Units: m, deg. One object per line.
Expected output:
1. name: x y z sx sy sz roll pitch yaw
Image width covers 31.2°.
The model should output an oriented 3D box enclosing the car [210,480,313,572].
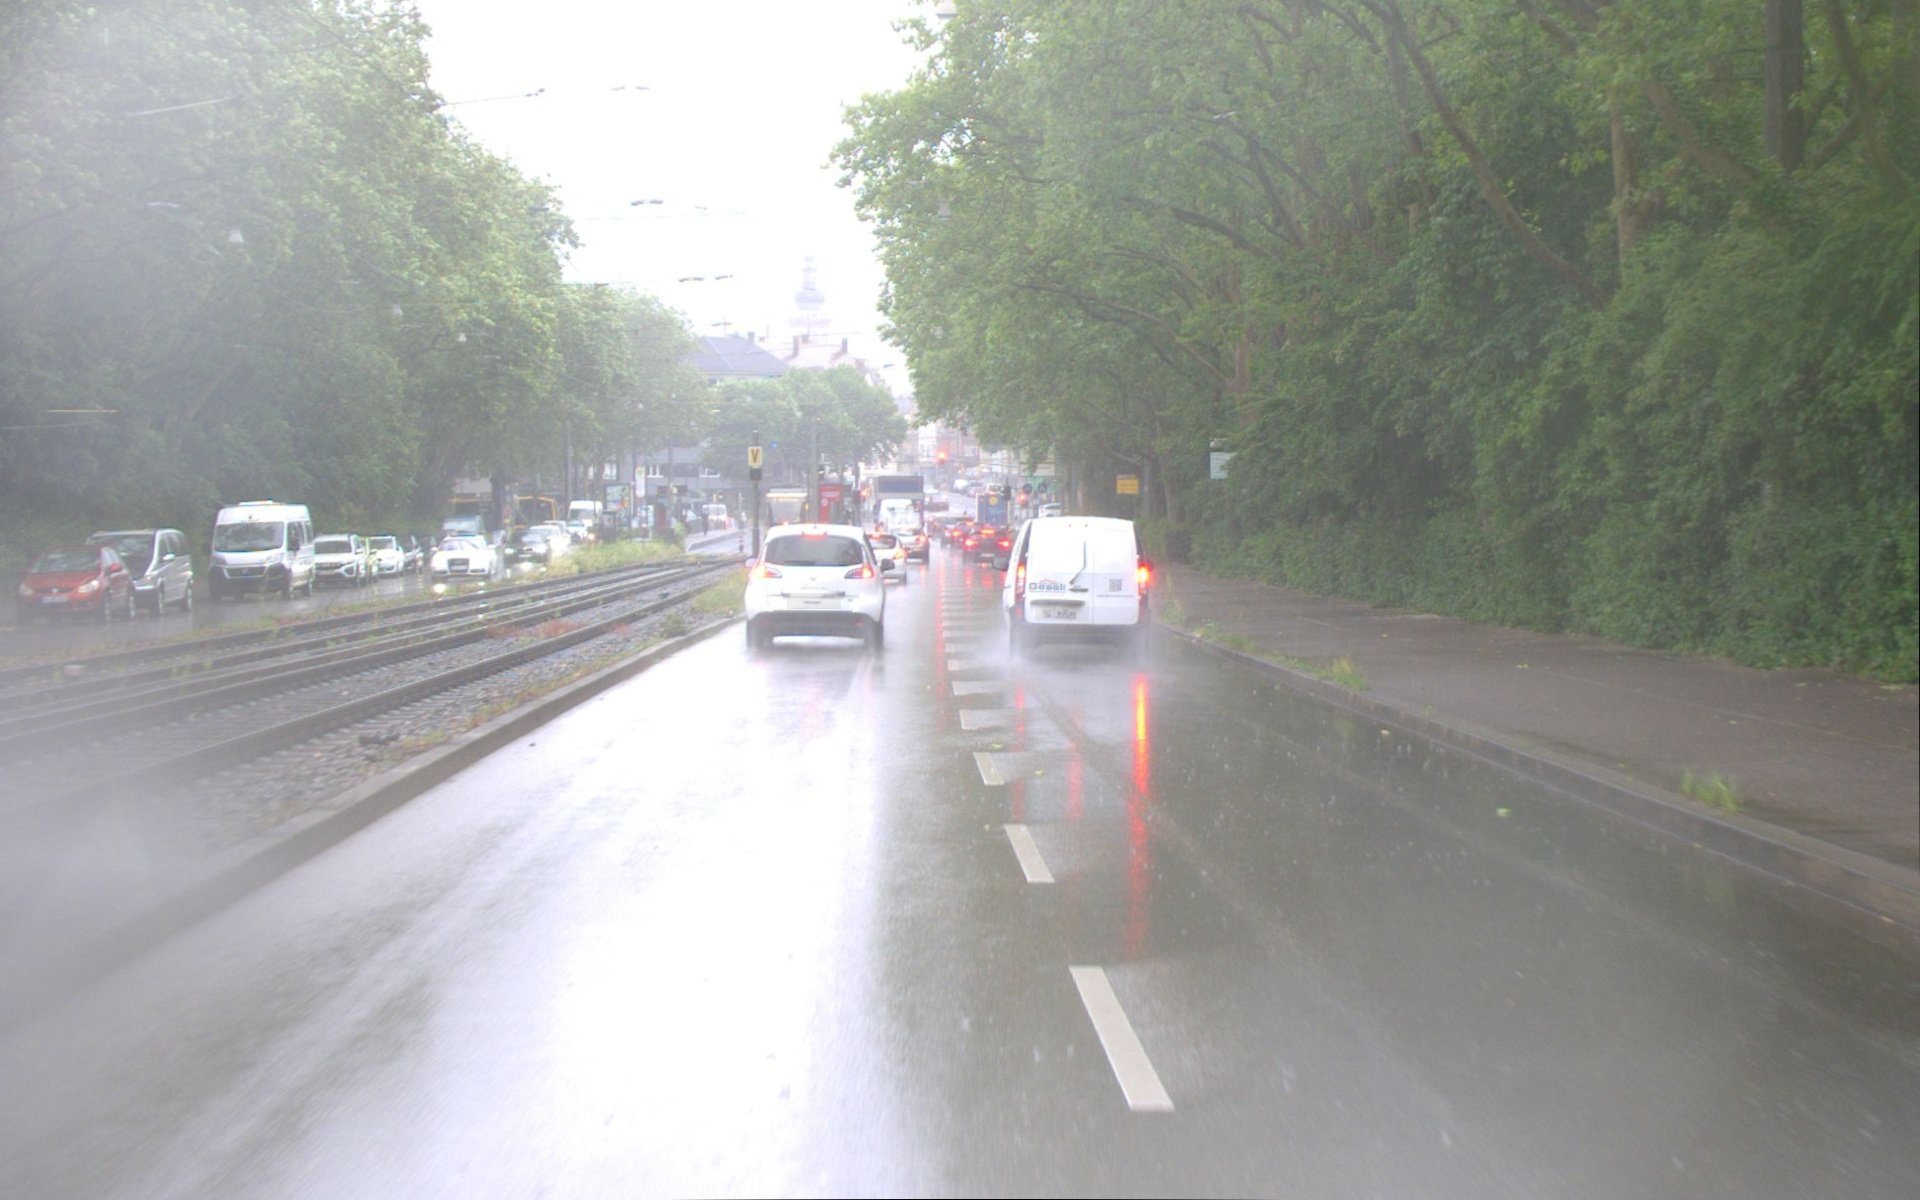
1. car: -17.987 -1.938 88.707 1.800 2.214 4.278 -2 2 -1

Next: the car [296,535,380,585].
1. car: -18.939 -1.235 104.825 1.805 1.345 4.264 -2 3 -1

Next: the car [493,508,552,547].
1. car: -16.960 -2.812 133.390 1.805 1.345 4.264 -2 3 -1

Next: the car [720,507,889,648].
1. car: -2.037 -0.344 46.073 1.993 1.711 4.001 1 2 1

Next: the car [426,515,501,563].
1. car: -15.685 -1.949 108.765 1.805 1.345 4.264 -2 3 -1

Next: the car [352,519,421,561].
1. car: -20.478 -2.156 122.891 1.805 1.345 4.264 -2 3 -1

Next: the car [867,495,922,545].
1. car: -2.538 -3.148 134.503 1.993 1.820 4.001 1 2 1

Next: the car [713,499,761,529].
1. car: -10.986 -4.262 169.624 1.805 1.345 4.264 -2 3 4

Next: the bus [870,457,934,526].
1. bus: -3.305 -6.339 199.062 3.389 3.823 9.739 1 2 1

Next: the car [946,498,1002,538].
1. car: 0.542 -3.016 125.955 1.993 1.316 4.001 1 2 1

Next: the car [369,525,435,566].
1. car: -20.753 -2.047 127.974 1.805 1.345 4.264 -2 3 -1

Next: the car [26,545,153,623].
1. car: -17.200 -0.339 68.072 1.506 1.345 4.028 -2 3 -1

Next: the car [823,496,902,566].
1. car: -2.684 -1.933 95.429 1.993 1.820 4.001 1 2 1

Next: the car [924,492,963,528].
1. car: -0.889 -4.826 184.435 1.993 1.820 4.001 1 2 1

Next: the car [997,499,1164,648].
1. car: 1.491 -0.380 43.808 1.993 1.720 4.001 1 2 1

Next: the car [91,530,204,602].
1. car: -17.419 -0.754 73.814 1.506 1.345 4.028 -2 3 -1
